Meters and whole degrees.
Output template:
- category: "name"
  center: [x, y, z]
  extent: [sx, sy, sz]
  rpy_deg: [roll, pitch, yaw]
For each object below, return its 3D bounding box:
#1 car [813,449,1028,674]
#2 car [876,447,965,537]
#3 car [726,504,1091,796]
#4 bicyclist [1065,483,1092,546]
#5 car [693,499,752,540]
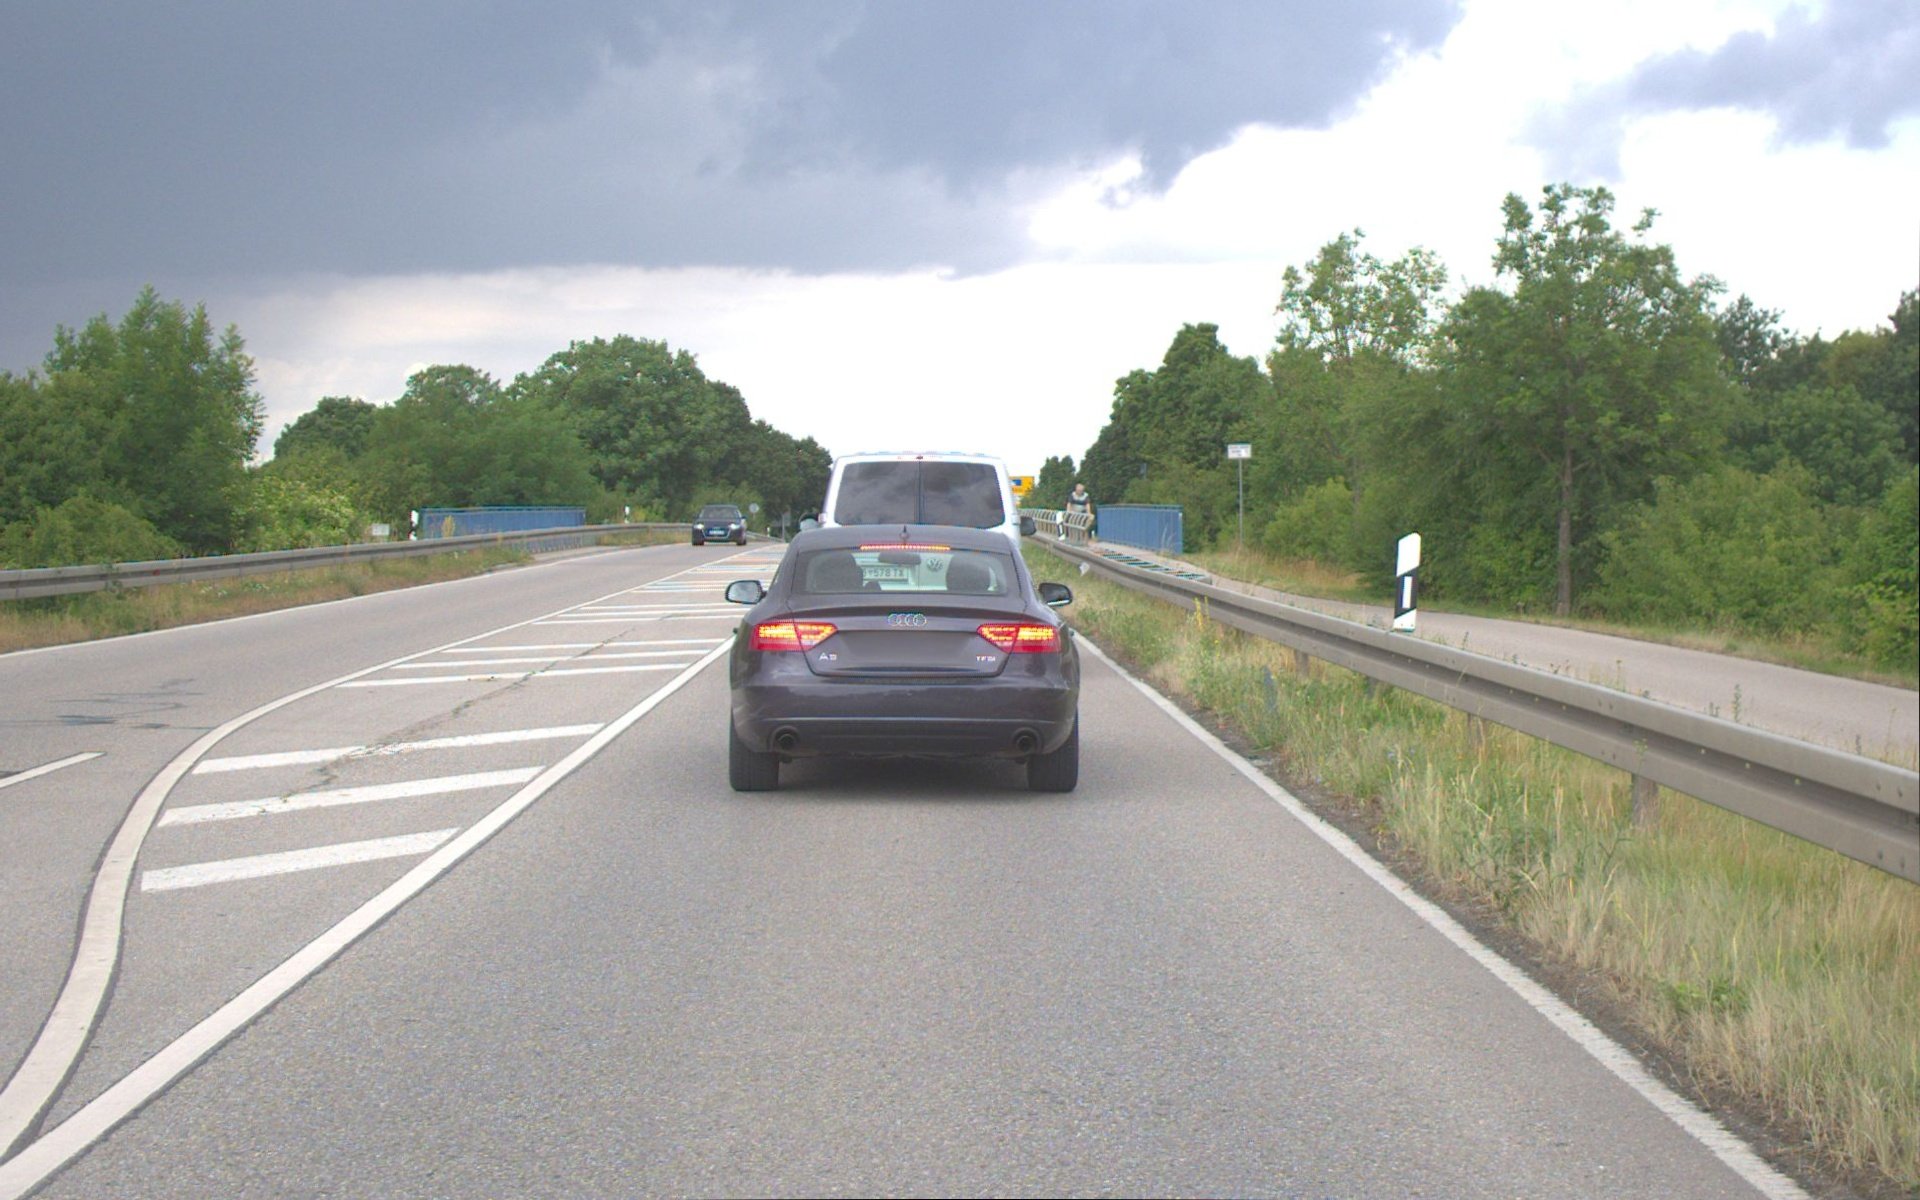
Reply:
- category: "car"
  center: [-0.358, -0.366, 31.010]
  extent: [1.785, 1.883, 4.000]
  rpy_deg: [1, 1, -1]
- category: "car"
  center: [-1.100, -3.088, 98.083]
  extent: [2.447, 2.495, 5.042]
  rpy_deg: [1, 2, 0]
- category: "car"
  center: [-0.281, 0.206, 18.979]
  extent: [1.785, 1.419, 4.000]
  rpy_deg: [1, 1, -1]
- category: "bicyclist"
  center: [3.097, -2.241, 90.112]
  extent: [0.647, 1.639, 0.866]
  rpy_deg: [-1, 1, -1]
- category: "car"
  center: [-8.240, -2.812, 119.401]
  extent: [1.862, 1.371, 4.001]
  rpy_deg: [1, 2, -1]
